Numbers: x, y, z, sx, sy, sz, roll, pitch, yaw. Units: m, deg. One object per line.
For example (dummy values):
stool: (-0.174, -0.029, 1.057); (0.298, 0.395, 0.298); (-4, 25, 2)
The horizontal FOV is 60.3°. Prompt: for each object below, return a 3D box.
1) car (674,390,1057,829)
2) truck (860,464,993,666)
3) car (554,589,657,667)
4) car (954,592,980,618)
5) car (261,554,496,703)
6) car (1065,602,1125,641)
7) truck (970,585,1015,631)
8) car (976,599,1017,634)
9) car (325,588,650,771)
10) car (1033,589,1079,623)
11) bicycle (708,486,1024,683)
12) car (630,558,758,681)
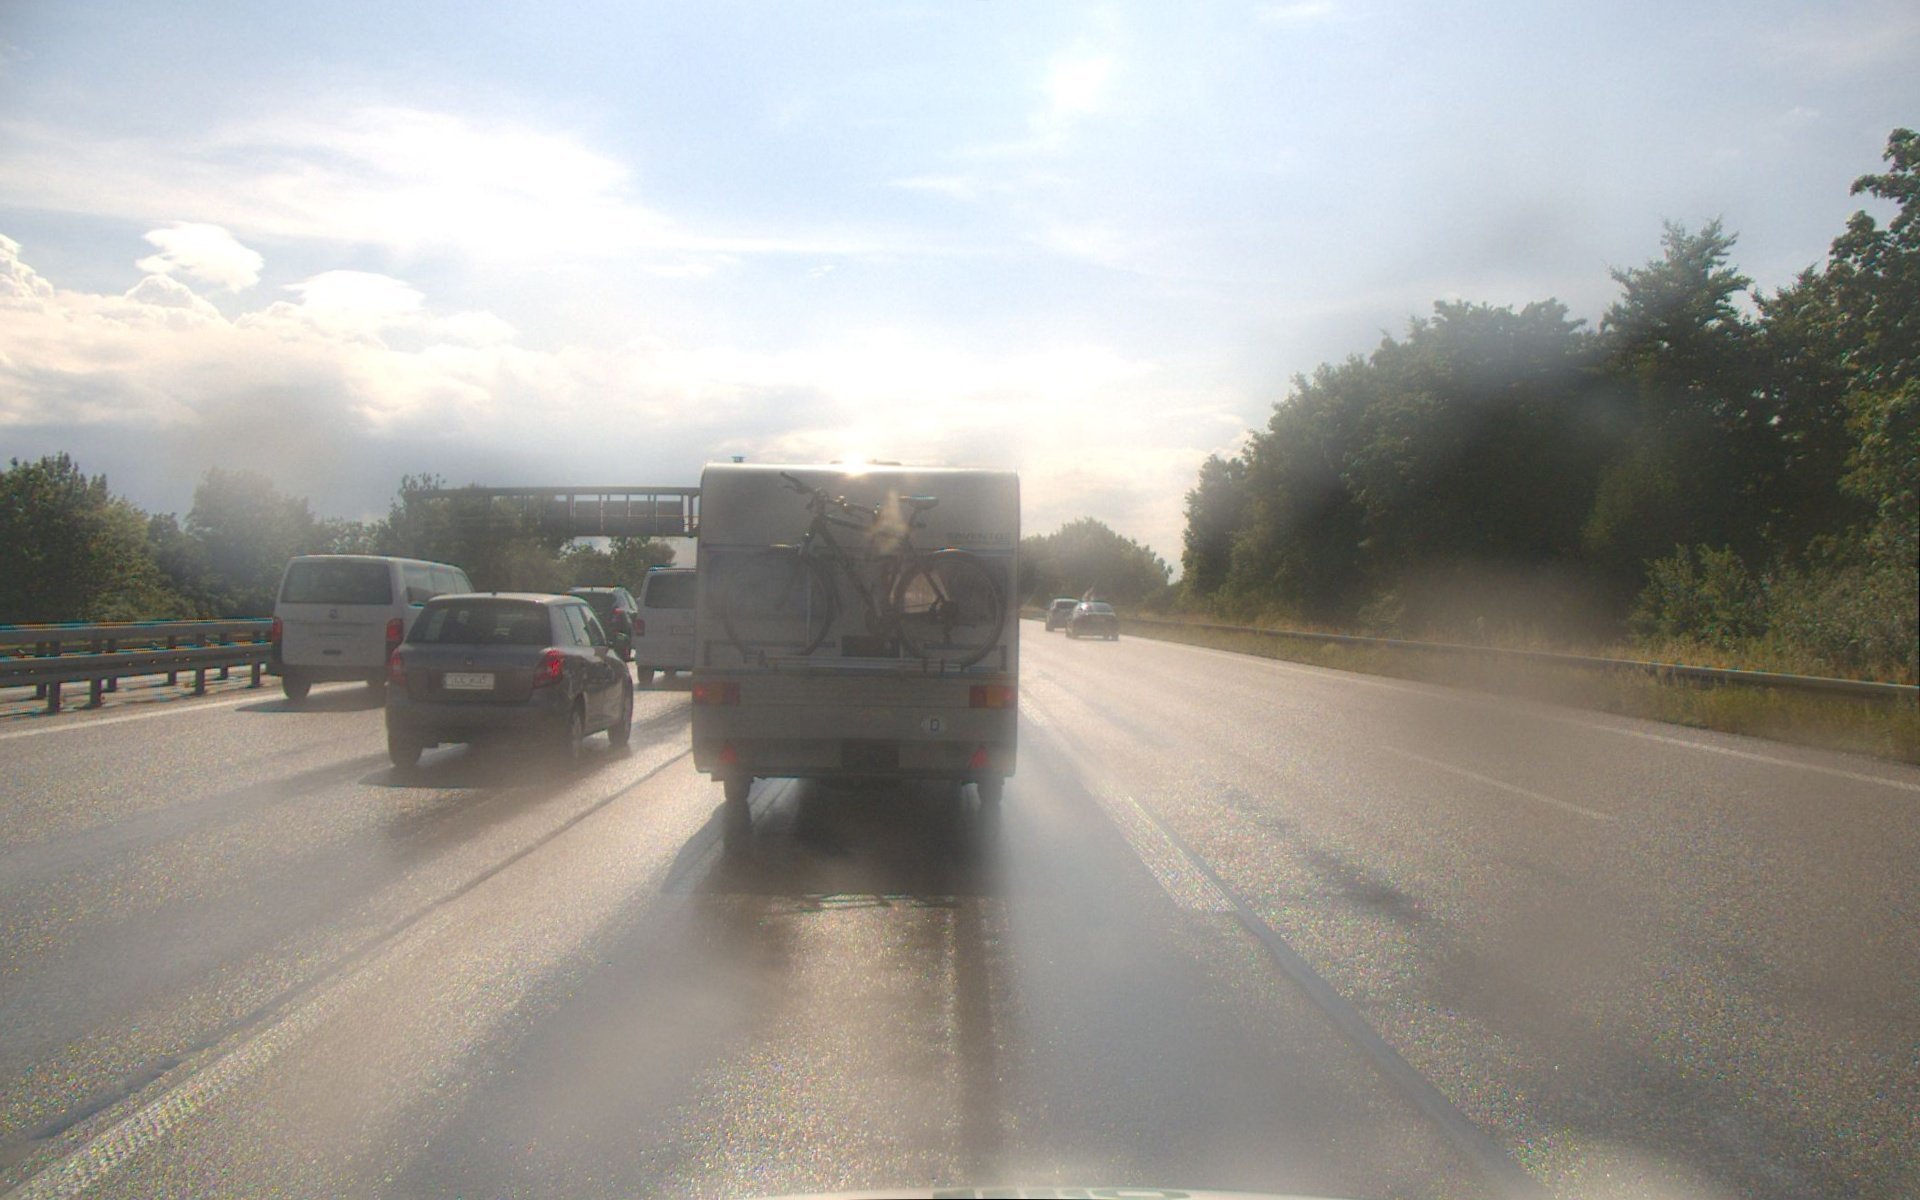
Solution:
car: (-0.602, 0.071, 12.395); (2.361, 2.721, 3.999); (1, 0, 0)
truck: (-0.970, -0.806, 44.099); (3.083, 4.707, 10.731); (1, 0, -2)
car: (-8.221, 0.634, 38.641); (1.736, 1.691, 3.997); (1, 0, -4)
car: (0.476, 0.355, 111.697); (1.684, 1.713, 4.000); (1, 0, 0)
car: (-8.444, 0.377, 24.512); (1.810, 1.967, 5.014); (1, 0, -2)
car: (5.598, 0.873, 68.932); (1.840, 1.521, 3.996); (1, 0, -5)
truck: (1.830, 0.429, 94.685); (2.366, 2.486, 6.052); (1, 0, 0)
car: (1.709, 0.788, 78.199); (1.798, 1.585, 3.999); (1, 0, 0)
car: (-4.240, 0.652, 15.497); (1.947, 1.483, 3.826); (1, 0, 0)
car: (4.948, 0.319, 85.886); (1.840, 1.657, 3.996); (1, 0, -5)
bicycle: (-0.568, -0.095, 10.215); (1.894, 1.161, 0.384); (1, -1, -1)
car: (-4.706, 0.338, 29.774); (1.839, 2.049, 3.997); (1, 0, -4)
